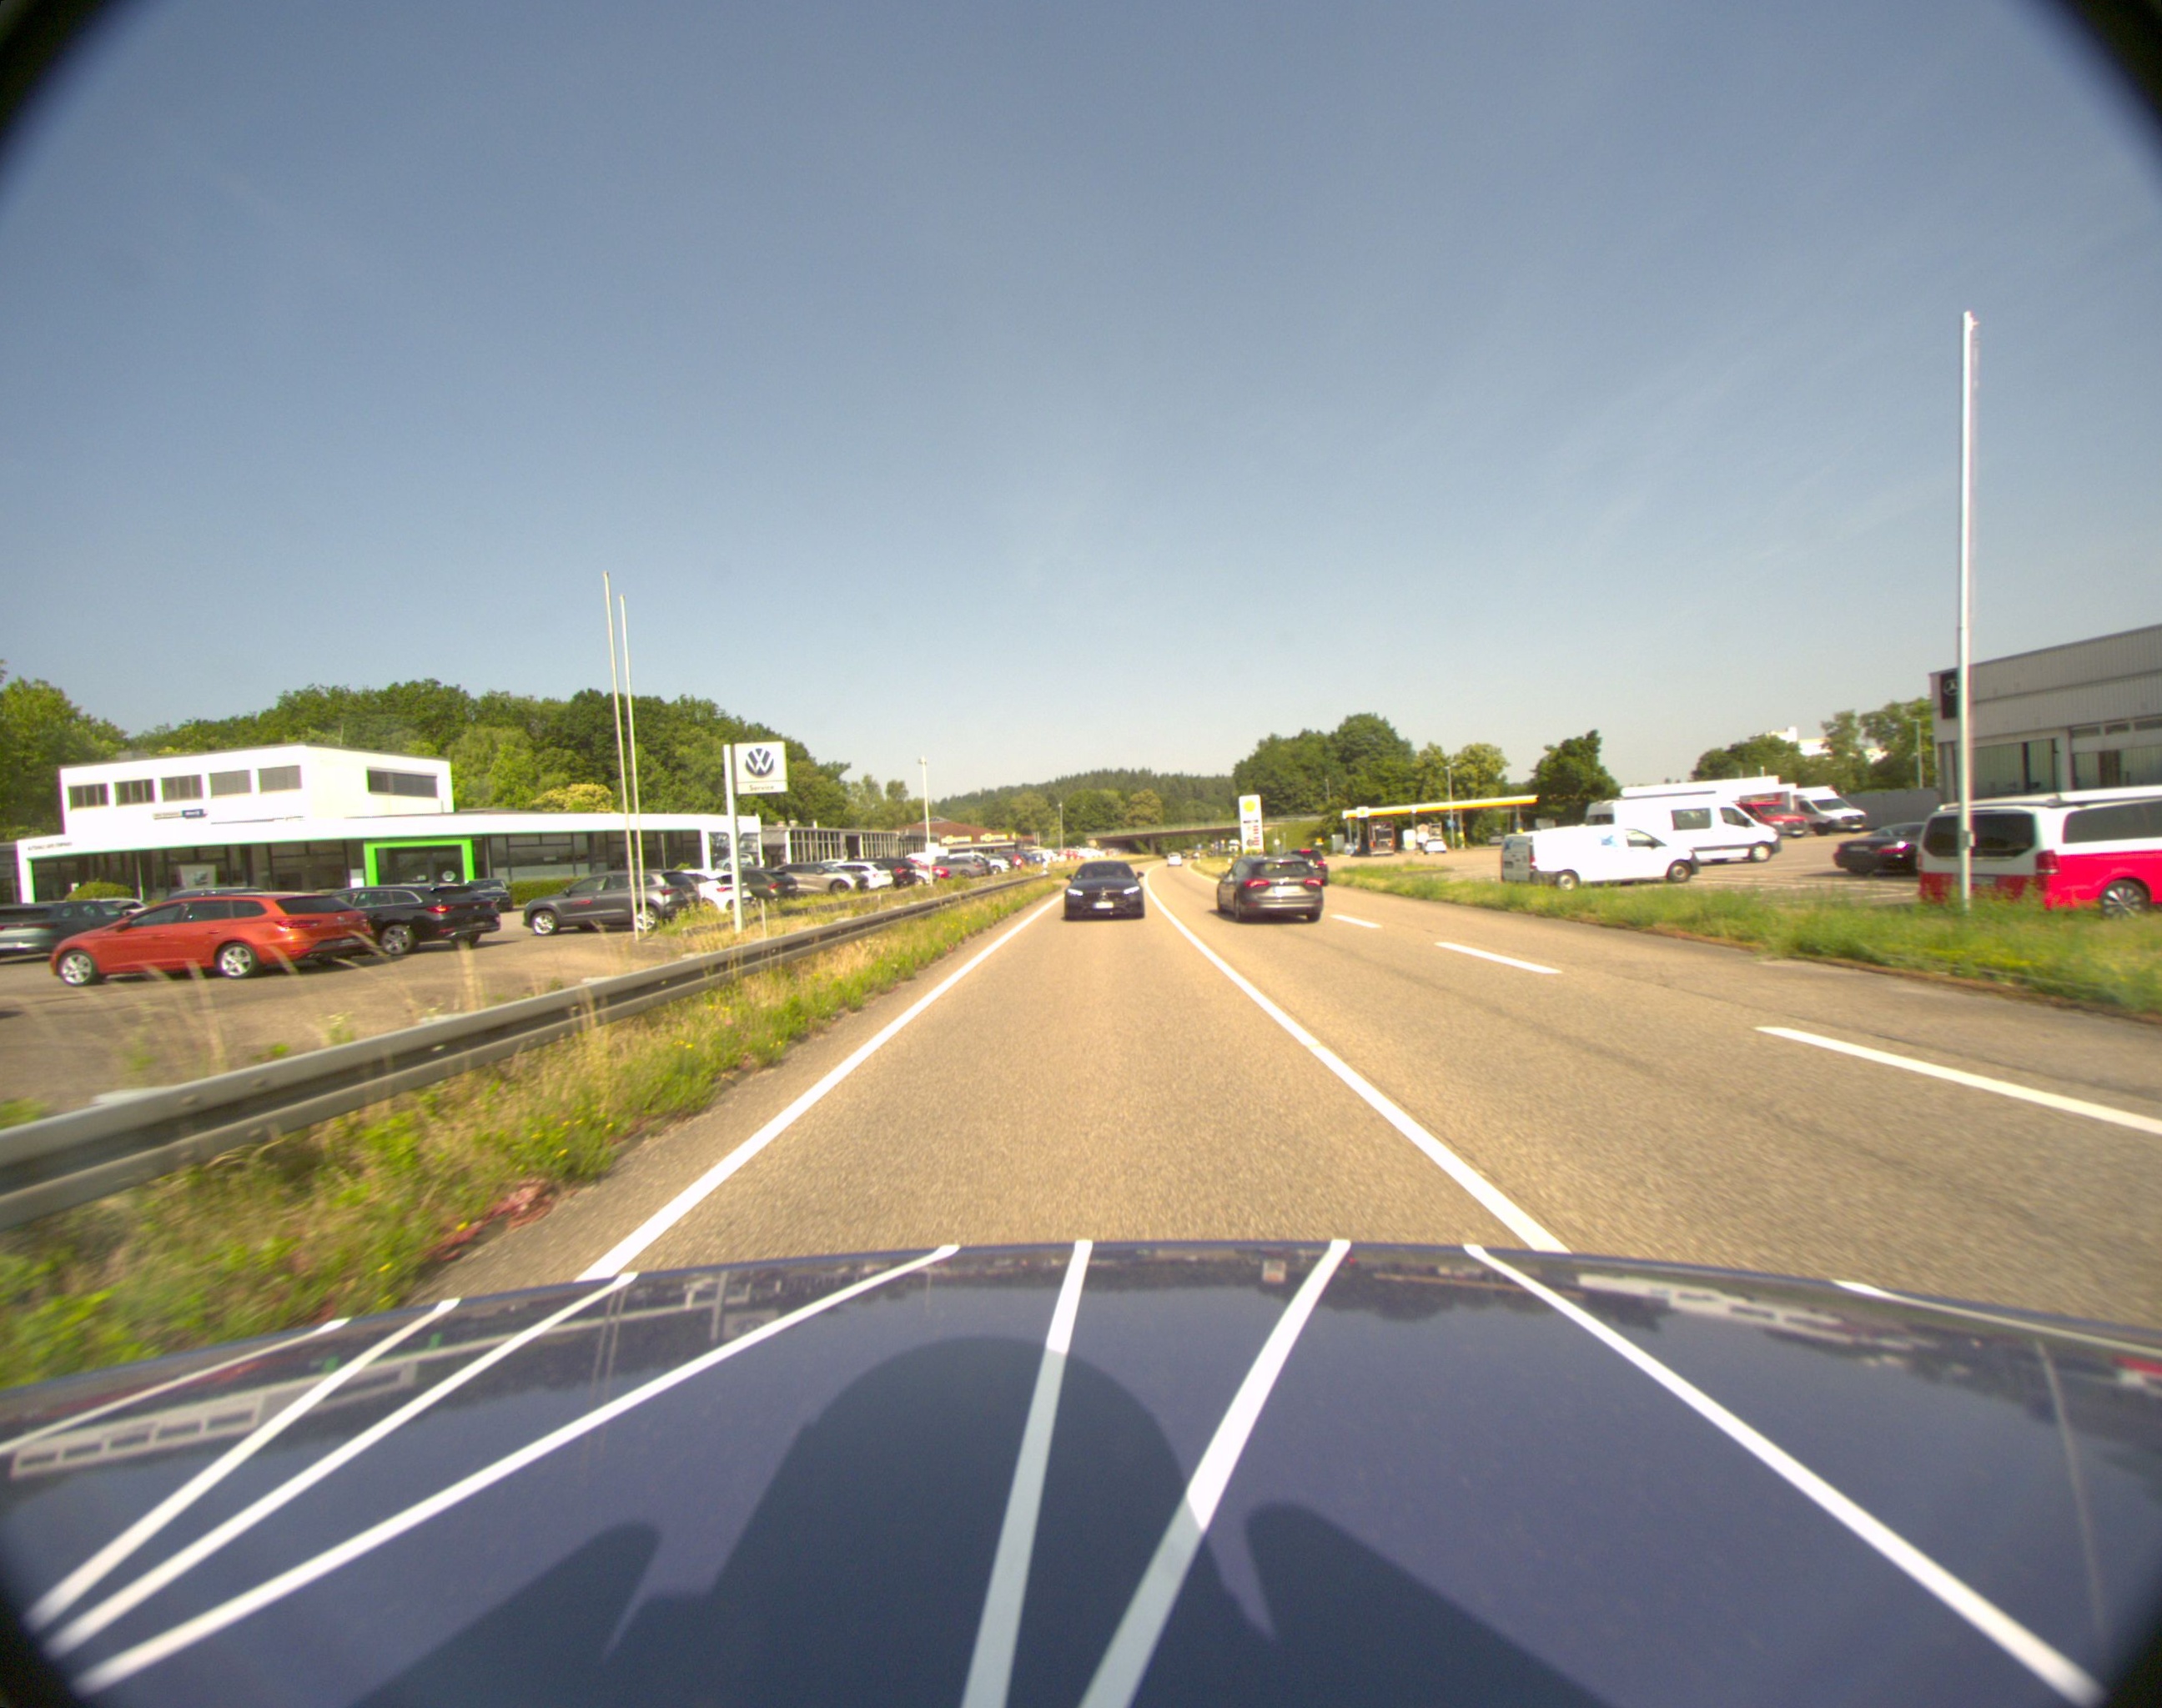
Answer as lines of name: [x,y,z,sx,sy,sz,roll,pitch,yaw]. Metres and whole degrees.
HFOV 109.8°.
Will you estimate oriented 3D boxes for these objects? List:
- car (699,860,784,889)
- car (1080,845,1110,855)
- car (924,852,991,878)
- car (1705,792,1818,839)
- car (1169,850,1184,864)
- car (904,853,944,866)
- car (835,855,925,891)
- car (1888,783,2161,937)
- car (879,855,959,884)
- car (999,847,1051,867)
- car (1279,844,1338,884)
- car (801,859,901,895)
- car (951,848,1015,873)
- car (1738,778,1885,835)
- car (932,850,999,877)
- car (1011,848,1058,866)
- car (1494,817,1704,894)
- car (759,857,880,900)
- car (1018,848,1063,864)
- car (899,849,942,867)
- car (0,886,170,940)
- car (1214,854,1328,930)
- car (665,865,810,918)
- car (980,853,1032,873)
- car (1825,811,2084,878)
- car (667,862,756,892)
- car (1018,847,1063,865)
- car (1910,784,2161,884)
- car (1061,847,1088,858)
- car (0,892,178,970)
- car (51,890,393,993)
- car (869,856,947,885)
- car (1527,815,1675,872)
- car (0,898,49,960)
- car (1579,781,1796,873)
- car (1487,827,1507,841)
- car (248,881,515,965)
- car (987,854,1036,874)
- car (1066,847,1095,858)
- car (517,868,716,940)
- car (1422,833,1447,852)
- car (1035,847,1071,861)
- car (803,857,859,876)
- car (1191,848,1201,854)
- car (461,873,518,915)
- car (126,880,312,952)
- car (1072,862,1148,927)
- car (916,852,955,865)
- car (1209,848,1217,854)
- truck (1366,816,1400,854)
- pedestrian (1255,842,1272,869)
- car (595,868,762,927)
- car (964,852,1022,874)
car: [-20.099,1.197,45.008,4.710,1.556,1.793,-1,1,22]
car: [2.312,-0.697,124.049,4.569,1.456,1.878,-2,1,9]
car: [-7.846,0.672,48.458,3.845,1.450,1.746,-2,1,8]
car: [39.170,-2.162,43.948,1.885,2.372,5.224,-3,0,2]
car: [10.994,0.351,87.281,1.680,1.464,3.709,-1,0,8]
car: [-18.776,0.635,91.118,4.318,1.456,1.791,-2,1,9]
car: [-9.983,0.934,37.866,3.885,1.654,1.841,-2,1,11]
car: [16.045,-0.027,11.645,4.804,1.970,2.229,-5,0,1]
car: [-9.350,0.890,43.908,4.091,1.543,1.782,-2,1,7]
car: [-5.092,0.240,69.171,4.364,1.630,1.952,-2,1,8]
car: [9.988,0.427,33.676,1.815,1.620,4.545,-1,-1,8]
car: [-10.638,1.047,35.204,4.042,1.477,1.724,-2,1,11]
car: [-6.933,0.462,54.041,3.993,1.622,1.922,-2,1,12]
car: [42.462,-2.650,44.481,2.400,2.839,6.529,-3,0,2]
car: [-7.753,0.651,51.112,3.994,1.622,1.922,-2,1,8]
car: [-4.317,0.299,71.368,4.046,1.498,1.807,-2,1,10]
car: [15.285,0.037,22.647,4.682,1.847,2.144,-4,0,1]
car: [-11.120,1.030,32.469,4.457,1.591,1.855,-2,1,3]
car: [-4.188,0.191,78.917,4.357,1.486,1.881,-2,1,9]
car: [-18.434,0.429,87.315,4.318,1.914,1.791,-2,1,7]
car: [-36.360,2.084,27.735,1.791,1.556,4.350,-2,1,-16]
car: [4.214,0.772,17.493,1.756,1.466,4.287,-1,0,3]
car: [-11.331,1.229,25.216,3.995,1.485,1.731,-2,1,6]
car: [-5.932,0.687,60.441,3.738,1.398,1.823,-2,1,7]
car: [22.002,-0.220,19.283,4.391,1.311,1.799,-4,0,1]
car: [-20.469,1.277,42.068,4.709,1.480,1.793,-1,1,25]
car: [-3.936,0.188,74.422,4.052,1.608,1.881,-2,1,10]
car: [21.530,-0.454,16.650,4.391,1.797,2.001,-5,0,1]
car: [-0.969,-0.168,108.032,3.544,1.456,1.806,-2,1,9]
car: [-26.094,1.909,19.674,1.934,1.556,4.740,-2,1,-30]
car: [-15.027,1.495,13.459,3.996,1.437,1.825,-2,1,2]
car: [-9.354,0.884,41.260,3.739,1.450,1.665,-2,1,7]
car: [20.886,-0.411,30.652,4.455,1.829,1.987,-5,0,1]
car: [-28.763,2.031,18.701,1.934,1.556,4.741,-2,1,-26]
car: [21.661,-0.934,27.369,5.734,2.729,2.285,-5,1,3]
car: [50.849,-2.456,92.841,1.905,1.633,4.007,-3,0,31]
car: [-14.865,1.437,16.313,3.996,1.477,1.842,-2,1,2]
car: [-5.778,0.838,63.573,3.741,1.420,1.780,-2,1,7]
car: [-0.036,-0.237,110.454,3.994,1.456,1.878,-2,1,9]
car: [-12.213,1.277,20.163,4.086,1.600,1.792,-2,1,1]
car: [32.249,-1.033,69.444,1.717,1.557,4.664,-3,0,21]
car: [-3.286,-0.051,91.062,3.994,1.543,1.807,-2,1,9]
car: [-21.962,1.086,66.841,4.319,1.456,1.791,-2,1,5]
car: [22.824,-0.681,150.936,1.806,1.166,4.103,-1,0,11]
car: [-25.608,1.687,32.913,1.794,1.556,4.345,-3,1,-38]
car: [-23.637,1.607,21.112,1.934,1.556,4.740,-2,1,-30]
car: [0.796,0.950,19.642,1.715,1.382,4.148,-2,0,3]
car: [-17.862,0.592,93.371,4.318,1.456,1.791,-2,1,9]
car: [31.954,-0.667,183.786,1.680,1.348,3.926,-1,0,14]
truck: [37.031,-2.329,92.835,3.056,4.110,16.796,-2,1,24]
pedestrian: [12.034,0.088,50.005,0.848,1.680,1.145,-2,1,23]
car: [-11.978,1.285,22.749,3.996,1.485,1.791,-2,1,4]
car: [-6.709,0.703,58.084,3.995,1.444,1.951,-2,1,7]
